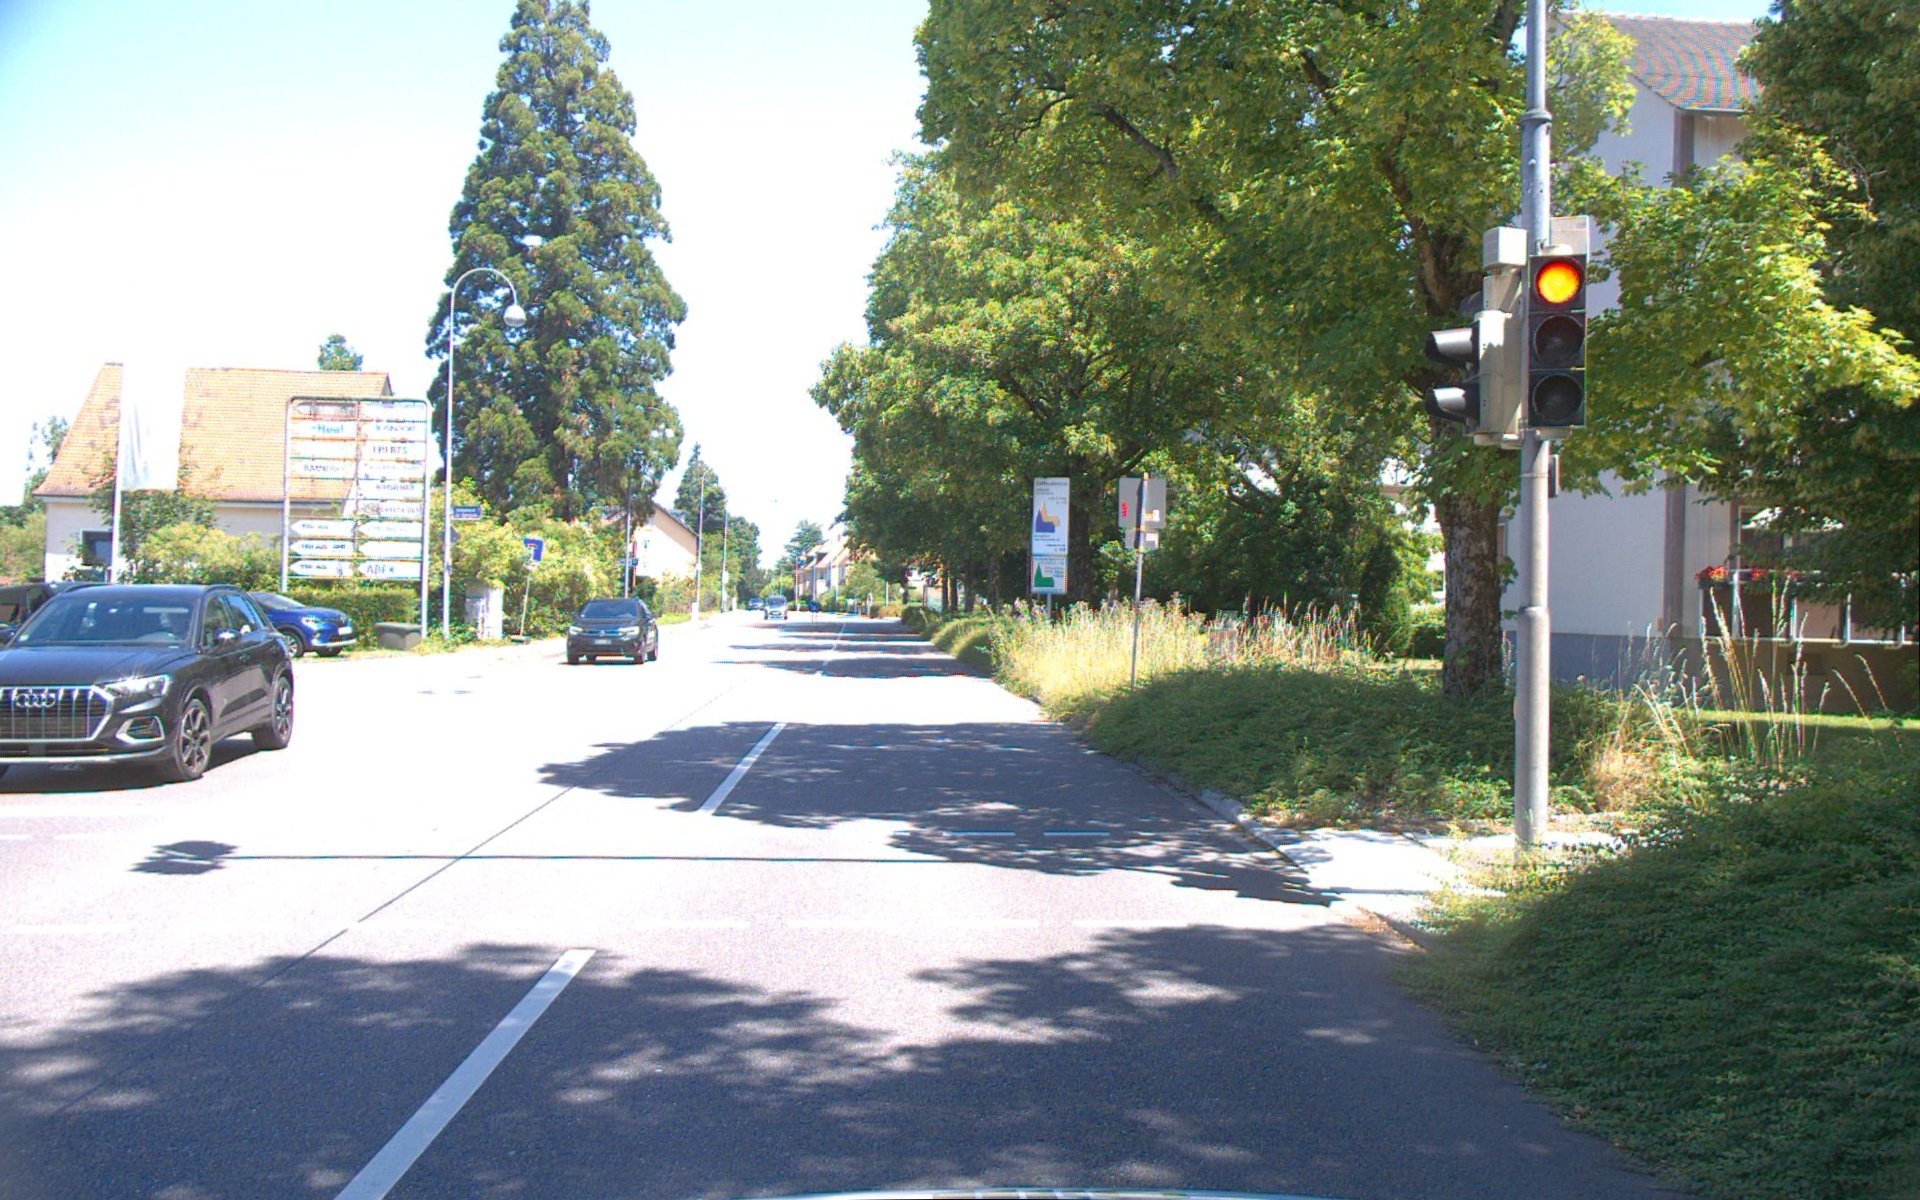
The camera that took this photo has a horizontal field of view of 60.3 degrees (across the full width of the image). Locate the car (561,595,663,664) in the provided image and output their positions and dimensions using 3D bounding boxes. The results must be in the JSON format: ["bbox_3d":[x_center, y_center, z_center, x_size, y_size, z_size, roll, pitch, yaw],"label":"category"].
[{"bbox_3d":[-8.125,0.651,38.901,1.832,1.533,4.049,0,0,-5],"label":"car"}]

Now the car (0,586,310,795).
[{"bbox_3d":[-7.324,0.686,14.680,1.890,1.582,4.295,0,0,-8],"label":"car"}]

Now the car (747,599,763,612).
[{"bbox_3d":[-26.062,0.673,210.508,1.786,1.579,3.996,0,0,-4],"label":"car"}]

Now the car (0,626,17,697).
[{"bbox_3d":[-24.644,1.529,40.015,1.775,1.752,4.081,1,0,-8],"label":"car"}]

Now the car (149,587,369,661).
[{"bbox_3d":[-15.195,0.503,35.966,4.047,1.531,1.779,0,0,8],"label":"car"}]

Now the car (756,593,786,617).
[{"bbox_3d":[-14.389,0.360,126.156,1.774,1.793,4.569,2,0,-1],"label":"car"}]
